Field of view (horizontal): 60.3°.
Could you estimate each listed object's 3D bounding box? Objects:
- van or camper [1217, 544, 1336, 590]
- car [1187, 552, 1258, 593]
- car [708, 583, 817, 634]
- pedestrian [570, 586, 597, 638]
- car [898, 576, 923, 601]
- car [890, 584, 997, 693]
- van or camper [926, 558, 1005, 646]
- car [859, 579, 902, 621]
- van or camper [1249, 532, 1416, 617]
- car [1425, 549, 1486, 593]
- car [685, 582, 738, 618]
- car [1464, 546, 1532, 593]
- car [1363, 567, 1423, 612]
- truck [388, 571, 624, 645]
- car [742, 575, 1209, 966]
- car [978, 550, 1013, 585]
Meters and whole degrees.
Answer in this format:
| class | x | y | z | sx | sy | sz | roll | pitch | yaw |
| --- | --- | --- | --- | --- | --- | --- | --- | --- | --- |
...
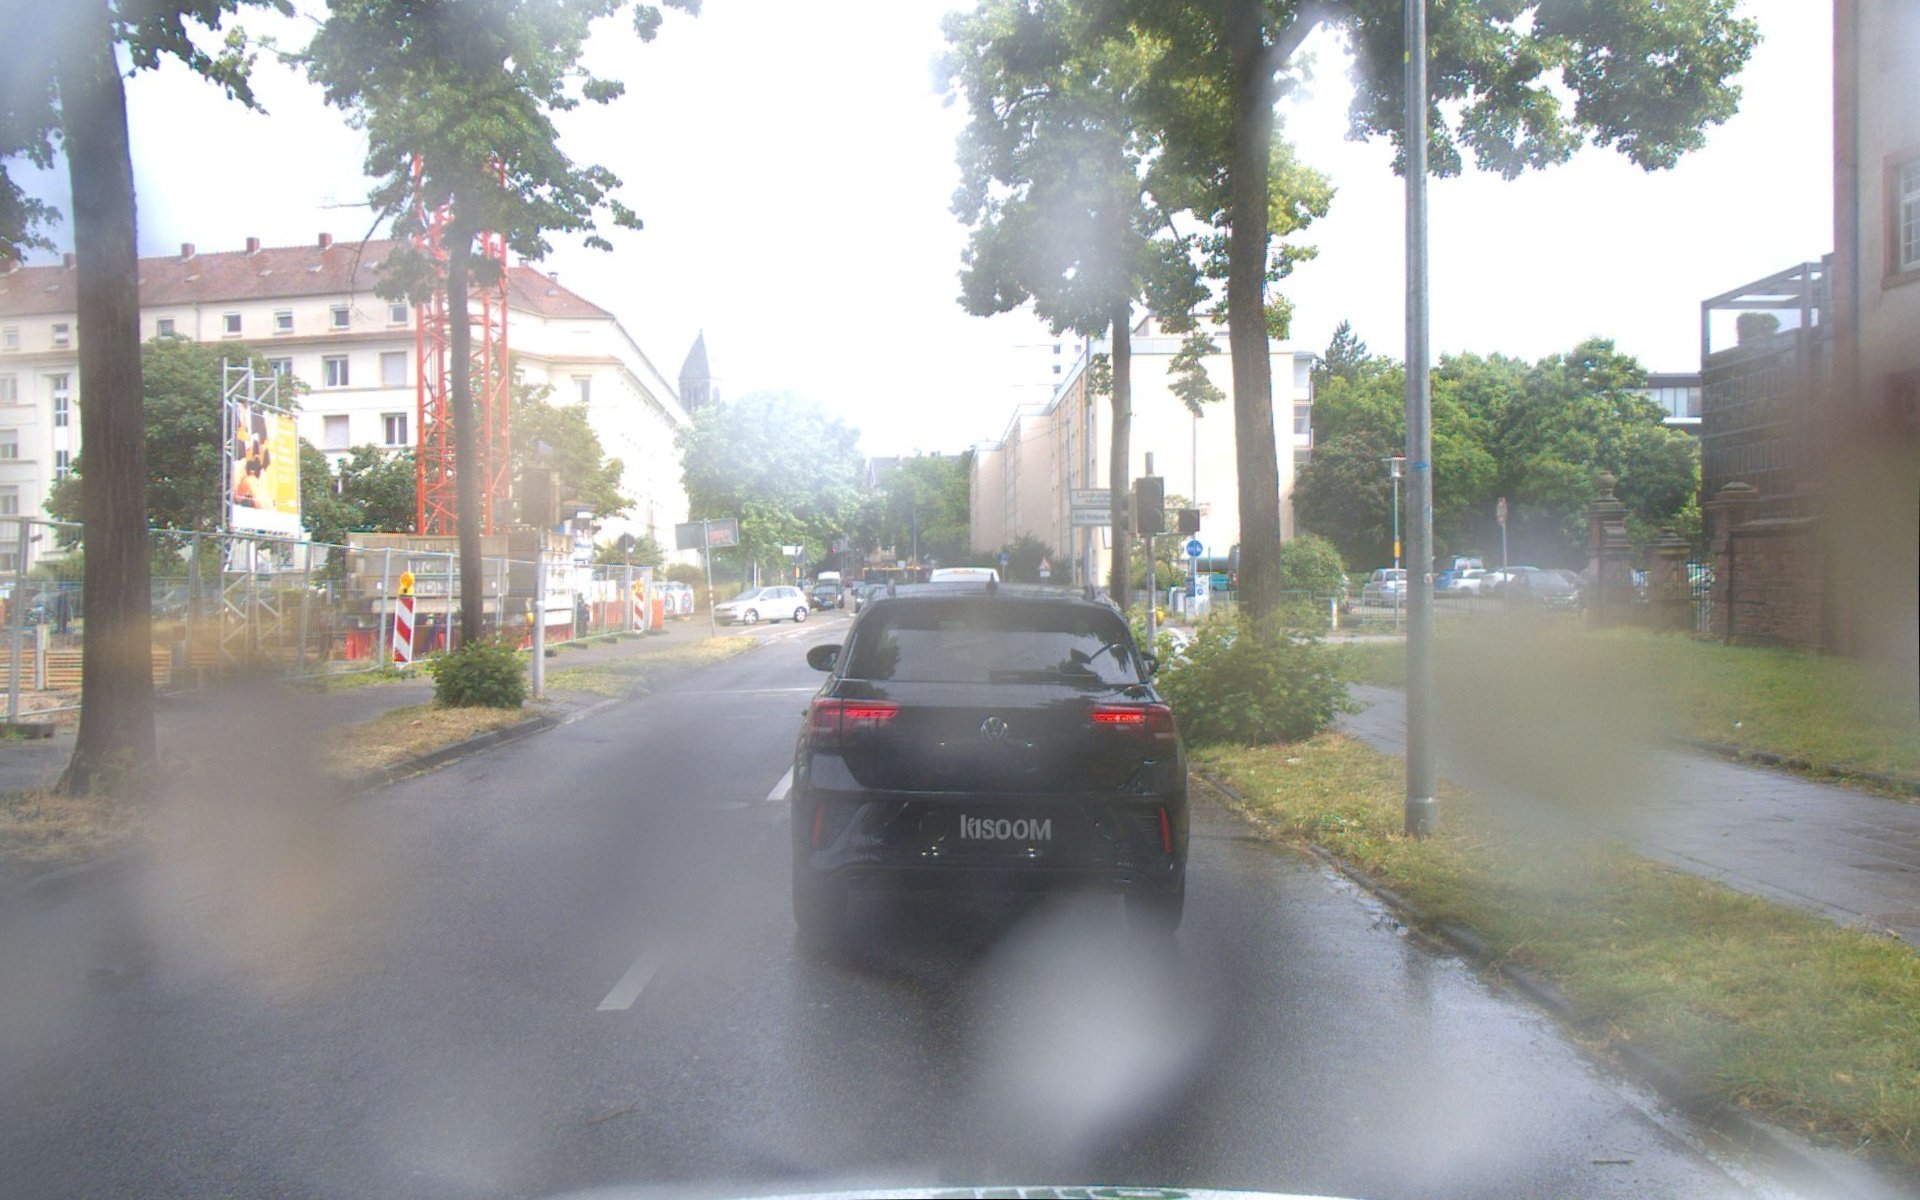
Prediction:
| class | x | y | z | sx | sy | sz | roll | pitch | yaw |
| --- | --- | --- | --- | --- | --- | --- | --- | --- | --- |
| van or camper | 13.685 | -1.454 | 71.693 | 4.775 | 1.959 | 2.131 | 0 | 1 | 0 |
| car | 12.941 | -1.342 | 81.597 | 3.335 | 1.812 | 1.761 | -4 | 0 | 8 |
| car | -7.660 | 0.323 | 64.061 | 3.865 | 1.679 | 1.750 | -4 | 0 | -20 |
| pedestrian | -11.197 | 0.353 | 49.223 | 0.652 | 1.511 | 0.667 | -1 | 1 | -25 |
| car | -3.251 | -0.774 | 108.482 | 1.559 | 1.538 | 3.730 | -4 | 1 | -2 |
| car | -0.237 | 0.649 | 29.829 | 1.645 | 1.738 | 3.911 | -3 | 0 | 2 |
| van or camper | 0.156 | 0.025 | 39.483 | 1.782 | 1.981 | 4.195 | 0 | 1 | 1 |
| car | -3.564 | -0.029 | 73.874 | 1.754 | 1.713 | 4.483 | -4 | 1 | -4 |
| van or camper | 12.193 | -0.834 | 54.325 | 4.931 | 2.641 | 2.167 | -1 | 0 | -2 |
| car | 24.918 | -1.425 | 83.348 | 1.952 | 2.048 | 4.002 | -4 | 0 | 3 |
| car | -11.595 | -0.009 | 77.374 | 1.557 | 1.538 | 3.734 | -4 | 1 | 5 |
| car | 25.233 | -1.427 | 77.689 | 1.952 | 2.048 | 4.002 | -4 | 0 | 3 |
| car | 17.704 | -0.437 | 67.776 | 1.706 | 1.713 | 3.873 | -4 | 0 | 5 |
| truck | -16.950 | 0.259 | 62.049 | 8.039 | 2.703 | 2.817 | 0 | 1 | 7 |
| car | 0.052 | 0.656 | 8.573 | 1.856 | 1.549 | 4.000 | 0 | 1 | 0 |
| car | 2.109 | -1.959 | 99.699 | 1.953 | 2.049 | 3.999 | 0 | 0 | -1 |
